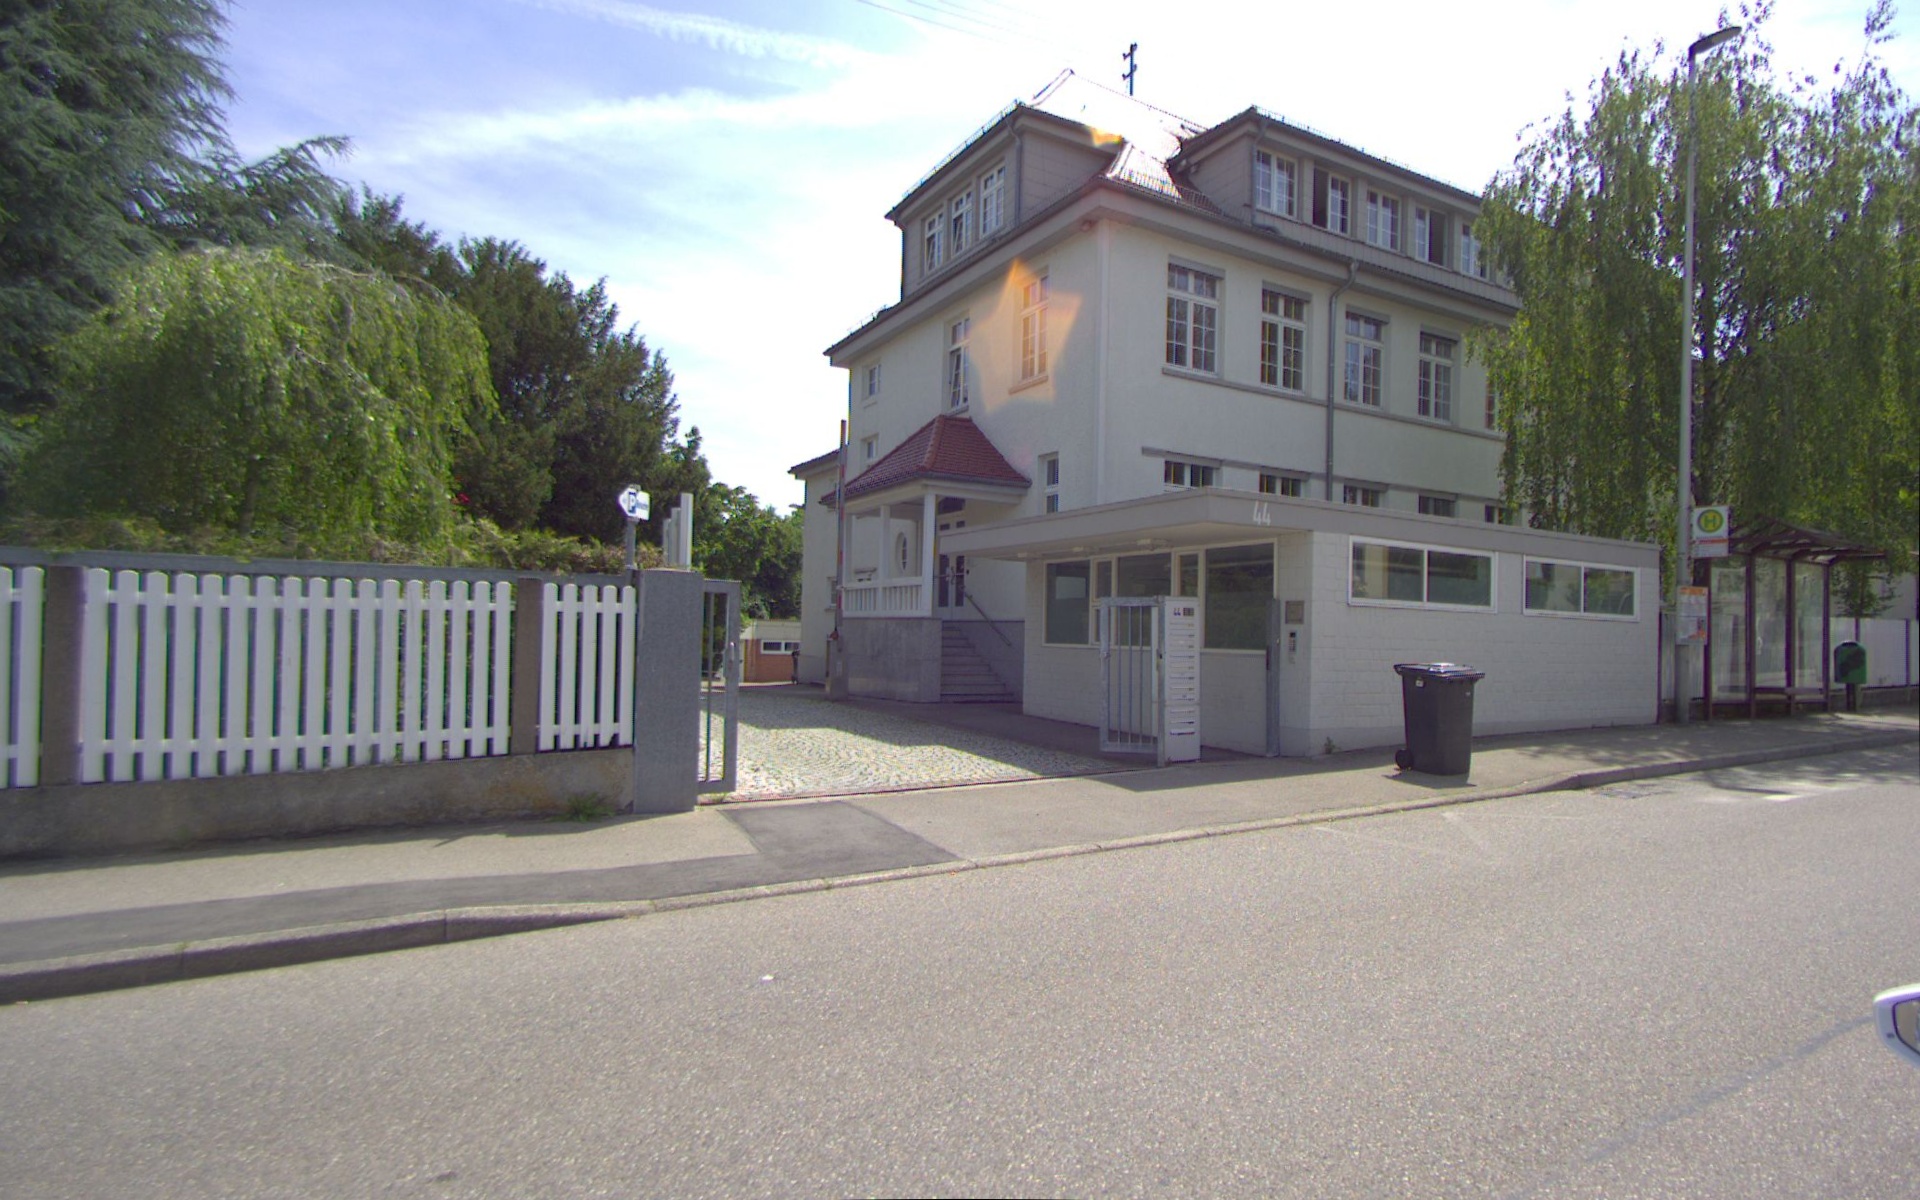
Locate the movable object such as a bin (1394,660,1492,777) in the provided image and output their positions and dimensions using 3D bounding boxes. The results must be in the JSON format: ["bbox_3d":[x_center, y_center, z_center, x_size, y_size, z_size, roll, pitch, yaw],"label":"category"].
[{"bbox_3d":[4.852,1.165,10.096,0.716,1.060,0.605,-1,1,-30],"label":"movable object such as a bin"}]
